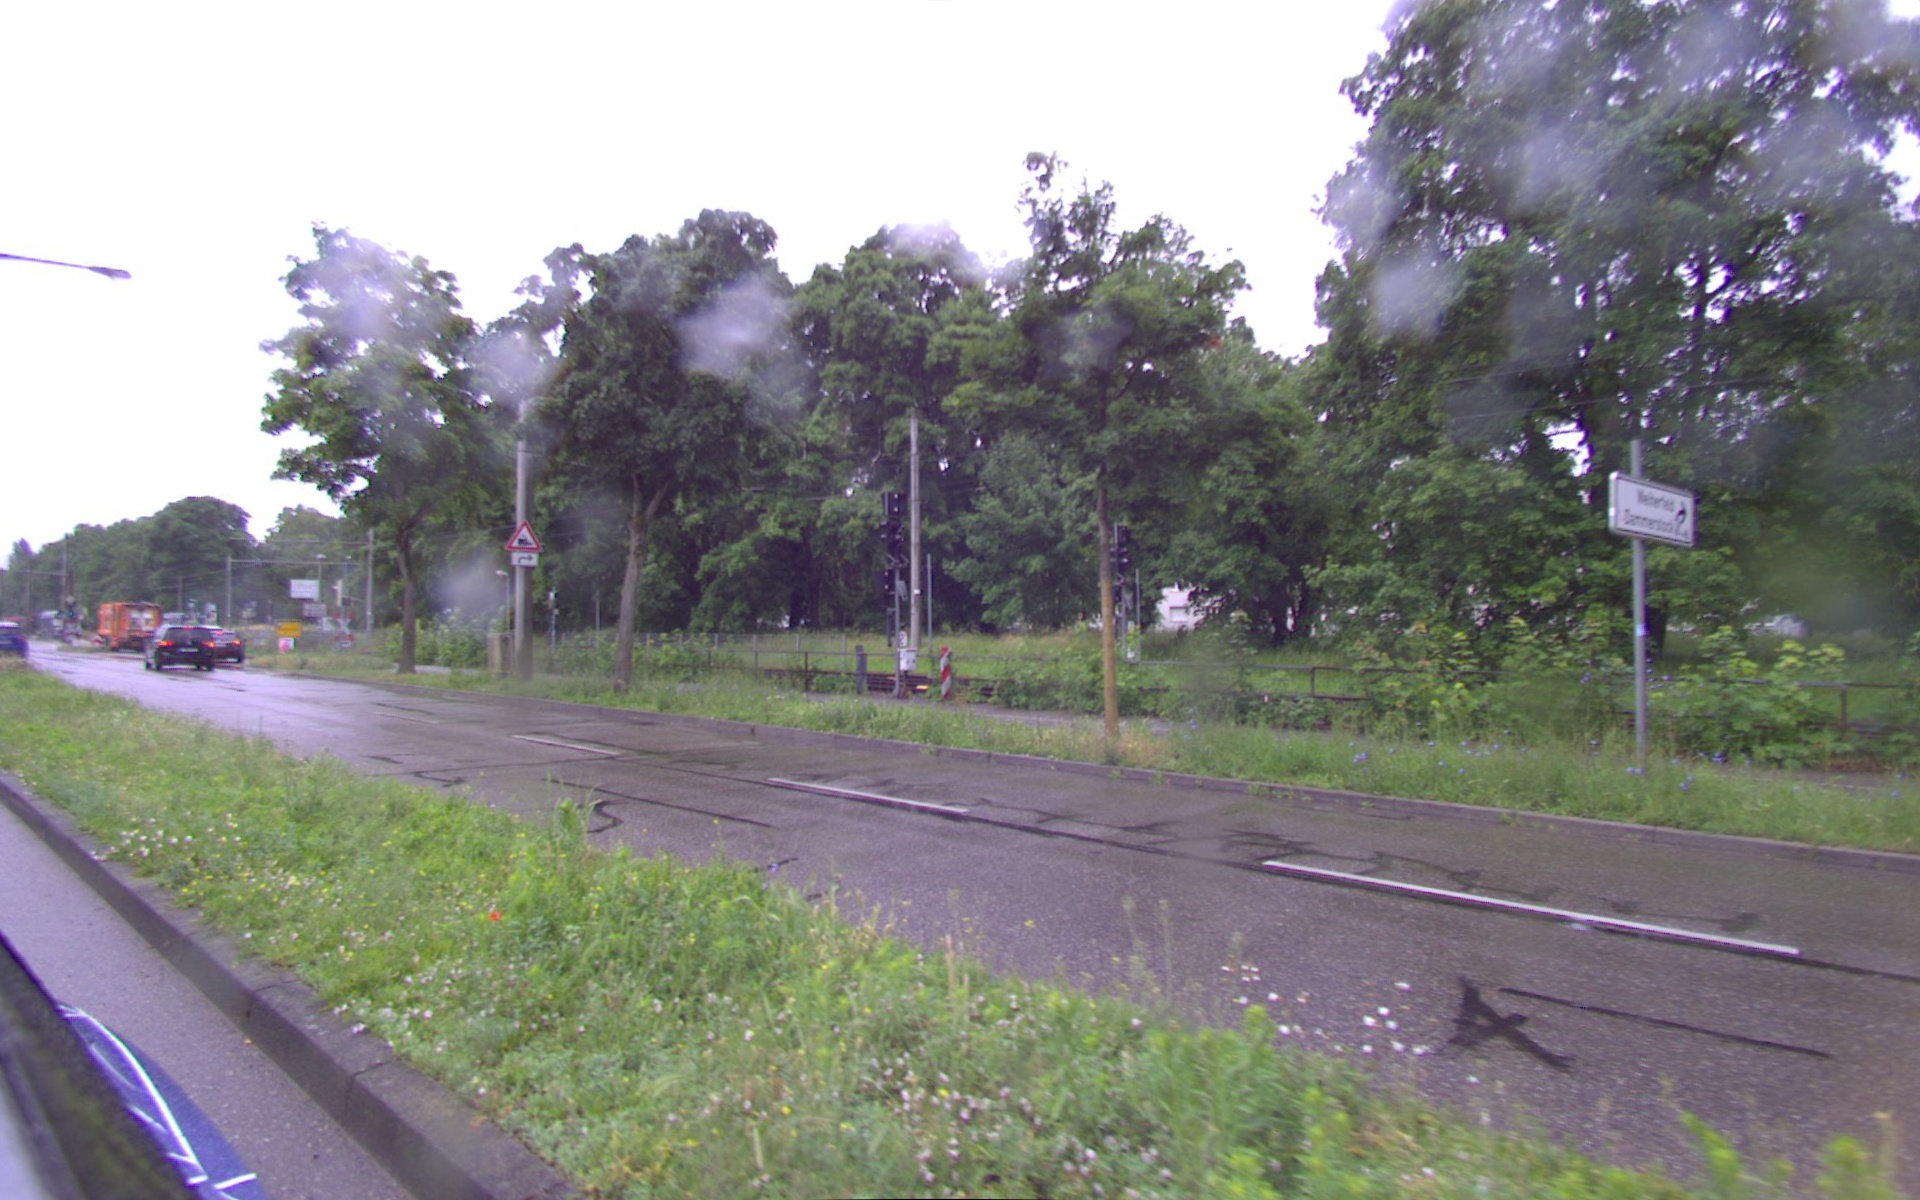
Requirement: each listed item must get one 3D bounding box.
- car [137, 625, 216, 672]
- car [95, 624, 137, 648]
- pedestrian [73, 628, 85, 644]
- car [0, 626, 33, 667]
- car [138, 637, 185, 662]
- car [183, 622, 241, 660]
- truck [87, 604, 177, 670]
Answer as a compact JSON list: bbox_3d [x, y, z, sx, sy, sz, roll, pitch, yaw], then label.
[{"bbox_3d":[-29.211,1.780,37.686,4.332,1.654,1.687,-2,-4,44],"label":"car"},{"bbox_3d":[-64.312,2.700,77.078,4.527,1.722,1.972,-1,0,44],"label":"car"},{"bbox_3d":[-89.505,3.657,102.769,0.803,1.670,0.773,-1,0,39],"label":"pedestrian"},{"bbox_3d":[-40.712,1.937,42.798,4.134,1.663,1.725,-2,-4,41],"label":"car"},{"bbox_3d":[-47.758,2.945,60.484,3.685,1.389,1.570,-1,-4,42],"label":"car"},{"bbox_3d":[-39.245,2.103,53.056,1.970,1.841,4.777,-1,0,-42],"label":"car"},{"bbox_3d":[-57.599,2.475,70.275,10.405,4.199,3.348,-1,0,43],"label":"truck"}]
